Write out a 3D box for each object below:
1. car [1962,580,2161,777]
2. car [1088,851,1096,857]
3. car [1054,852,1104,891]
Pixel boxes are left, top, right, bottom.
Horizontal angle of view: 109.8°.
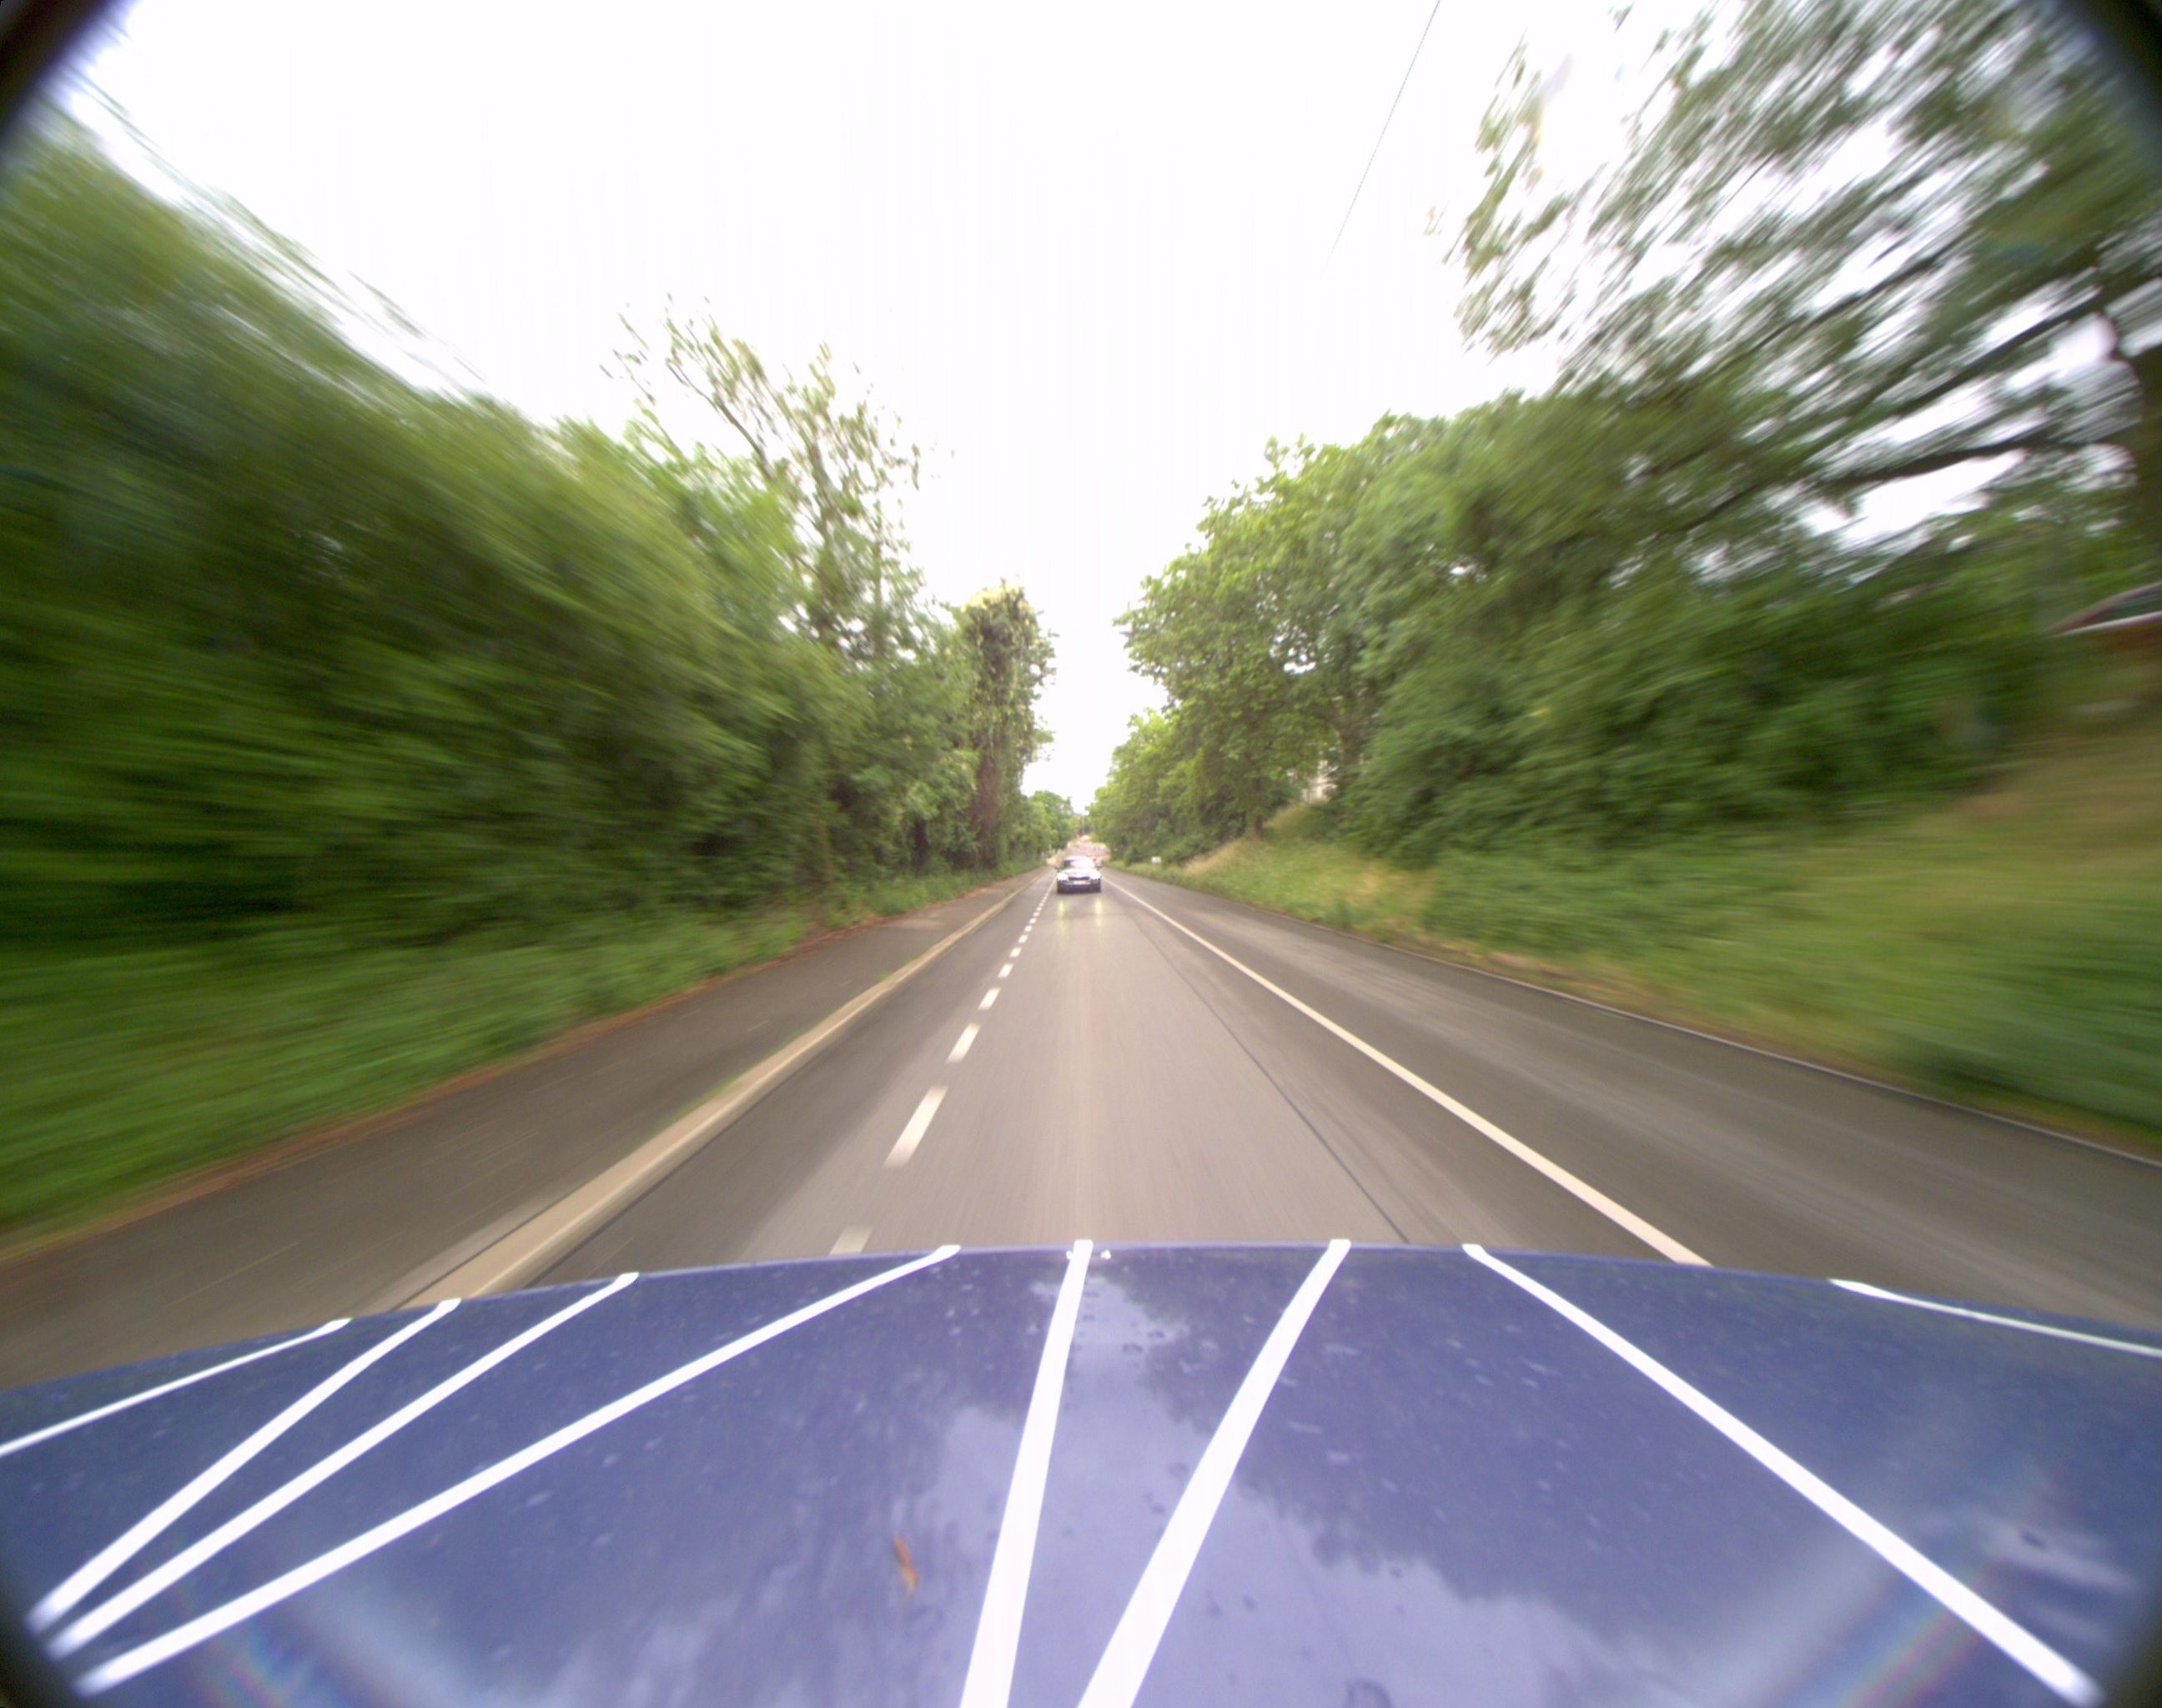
[{"bbox_3d":[13.045,-2.075,8.184,1.999,2.002,4.349,-2,1,-1],"label":"car"},{"bbox_3d":[3.104,0.037,215.892,1.981,1.497,3.999,-2,1,-1],"label":"car"},{"bbox_3d":[-0.131,0.721,32.931,1.981,1.497,3.999,-2,1,-1],"label":"car"}]
